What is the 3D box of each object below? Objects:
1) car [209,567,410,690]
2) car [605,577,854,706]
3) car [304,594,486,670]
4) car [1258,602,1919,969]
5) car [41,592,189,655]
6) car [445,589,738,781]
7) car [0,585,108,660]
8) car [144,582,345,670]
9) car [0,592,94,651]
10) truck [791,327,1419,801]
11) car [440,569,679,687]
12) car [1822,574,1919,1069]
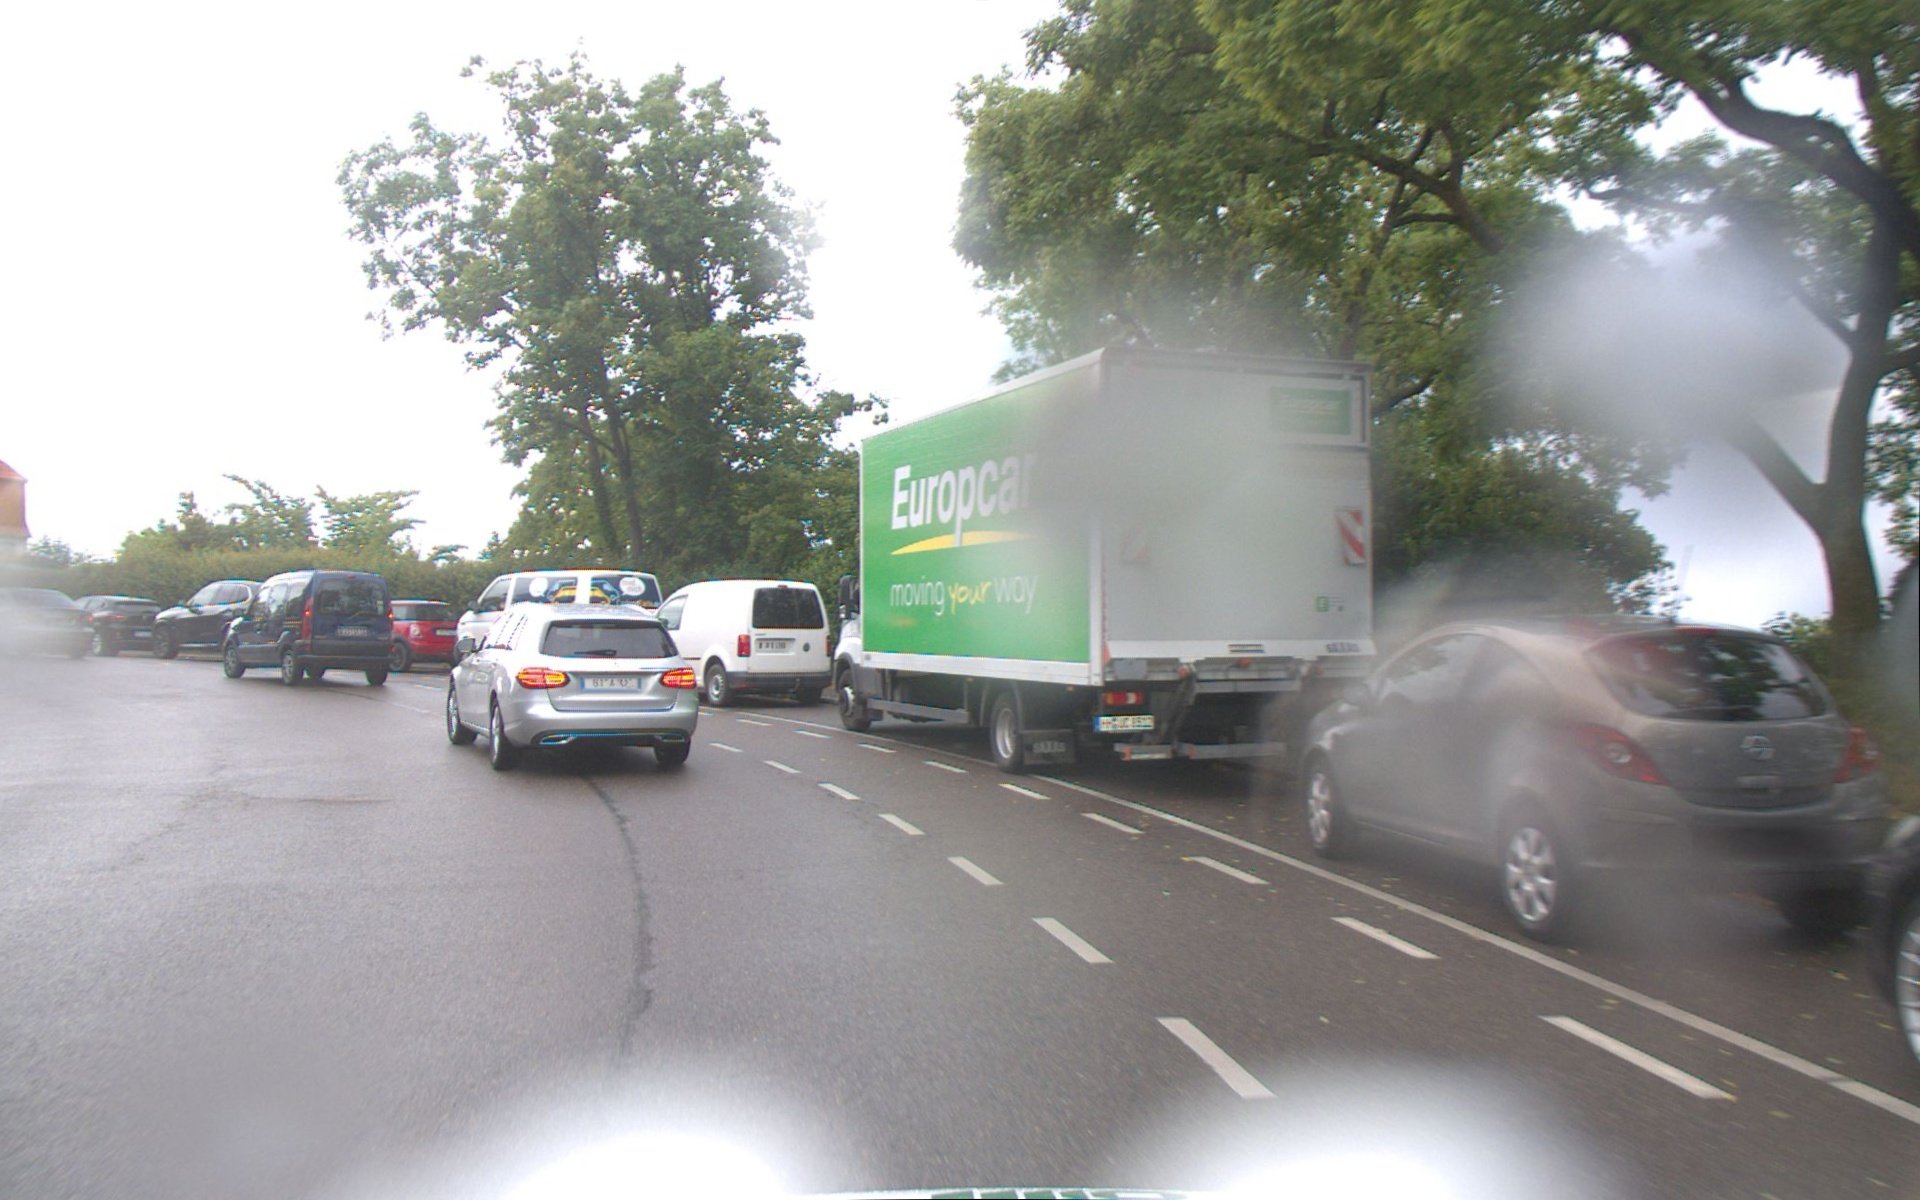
[{"bbox_3d":[-11.040,0.441,27.941,1.816,1.915,4.030,-1,0,-43],"label":"car"},{"bbox_3d":[-3.621,0.585,25.405,1.847,1.801,4.318,1,0,-39],"label":"car"},{"bbox_3d":[-11.678,0.660,34.133,3.666,1.439,1.670,1,-2,35],"label":"car"},{"bbox_3d":[3.219,0.787,9.210,1.703,1.529,4.124,0,0,-11],"label":"car"},{"bbox_3d":[-20.762,0.575,40.598,3.906,1.447,1.686,0,-3,38],"label":"car"},{"bbox_3d":[-3.693,0.707,15.951,1.957,1.581,4.265,0,0,-24],"label":"car"},{"bbox_3d":[-19.791,0.483,34.805,4.017,1.484,1.851,-2,0,39],"label":"car"},{"bbox_3d":[-16.206,0.574,37.389,4.802,1.814,2.025,1,-2,37],"label":"car"},{"bbox_3d":[-25.688,0.543,44.378,4.533,1.465,1.804,2,-3,23],"label":"car"},{"bbox_3d":[0.809,-0.299,16.990,2.735,3.531,8.874,-1,0,-22],"label":"truck"},{"bbox_3d":[-7.333,0.460,30.012,4.721,1.982,1.855,1,0,41],"label":"car"},{"bbox_3d":[4.054,0.715,3.399,1.823,1.569,4.892,0,0,-3],"label":"car"}]
